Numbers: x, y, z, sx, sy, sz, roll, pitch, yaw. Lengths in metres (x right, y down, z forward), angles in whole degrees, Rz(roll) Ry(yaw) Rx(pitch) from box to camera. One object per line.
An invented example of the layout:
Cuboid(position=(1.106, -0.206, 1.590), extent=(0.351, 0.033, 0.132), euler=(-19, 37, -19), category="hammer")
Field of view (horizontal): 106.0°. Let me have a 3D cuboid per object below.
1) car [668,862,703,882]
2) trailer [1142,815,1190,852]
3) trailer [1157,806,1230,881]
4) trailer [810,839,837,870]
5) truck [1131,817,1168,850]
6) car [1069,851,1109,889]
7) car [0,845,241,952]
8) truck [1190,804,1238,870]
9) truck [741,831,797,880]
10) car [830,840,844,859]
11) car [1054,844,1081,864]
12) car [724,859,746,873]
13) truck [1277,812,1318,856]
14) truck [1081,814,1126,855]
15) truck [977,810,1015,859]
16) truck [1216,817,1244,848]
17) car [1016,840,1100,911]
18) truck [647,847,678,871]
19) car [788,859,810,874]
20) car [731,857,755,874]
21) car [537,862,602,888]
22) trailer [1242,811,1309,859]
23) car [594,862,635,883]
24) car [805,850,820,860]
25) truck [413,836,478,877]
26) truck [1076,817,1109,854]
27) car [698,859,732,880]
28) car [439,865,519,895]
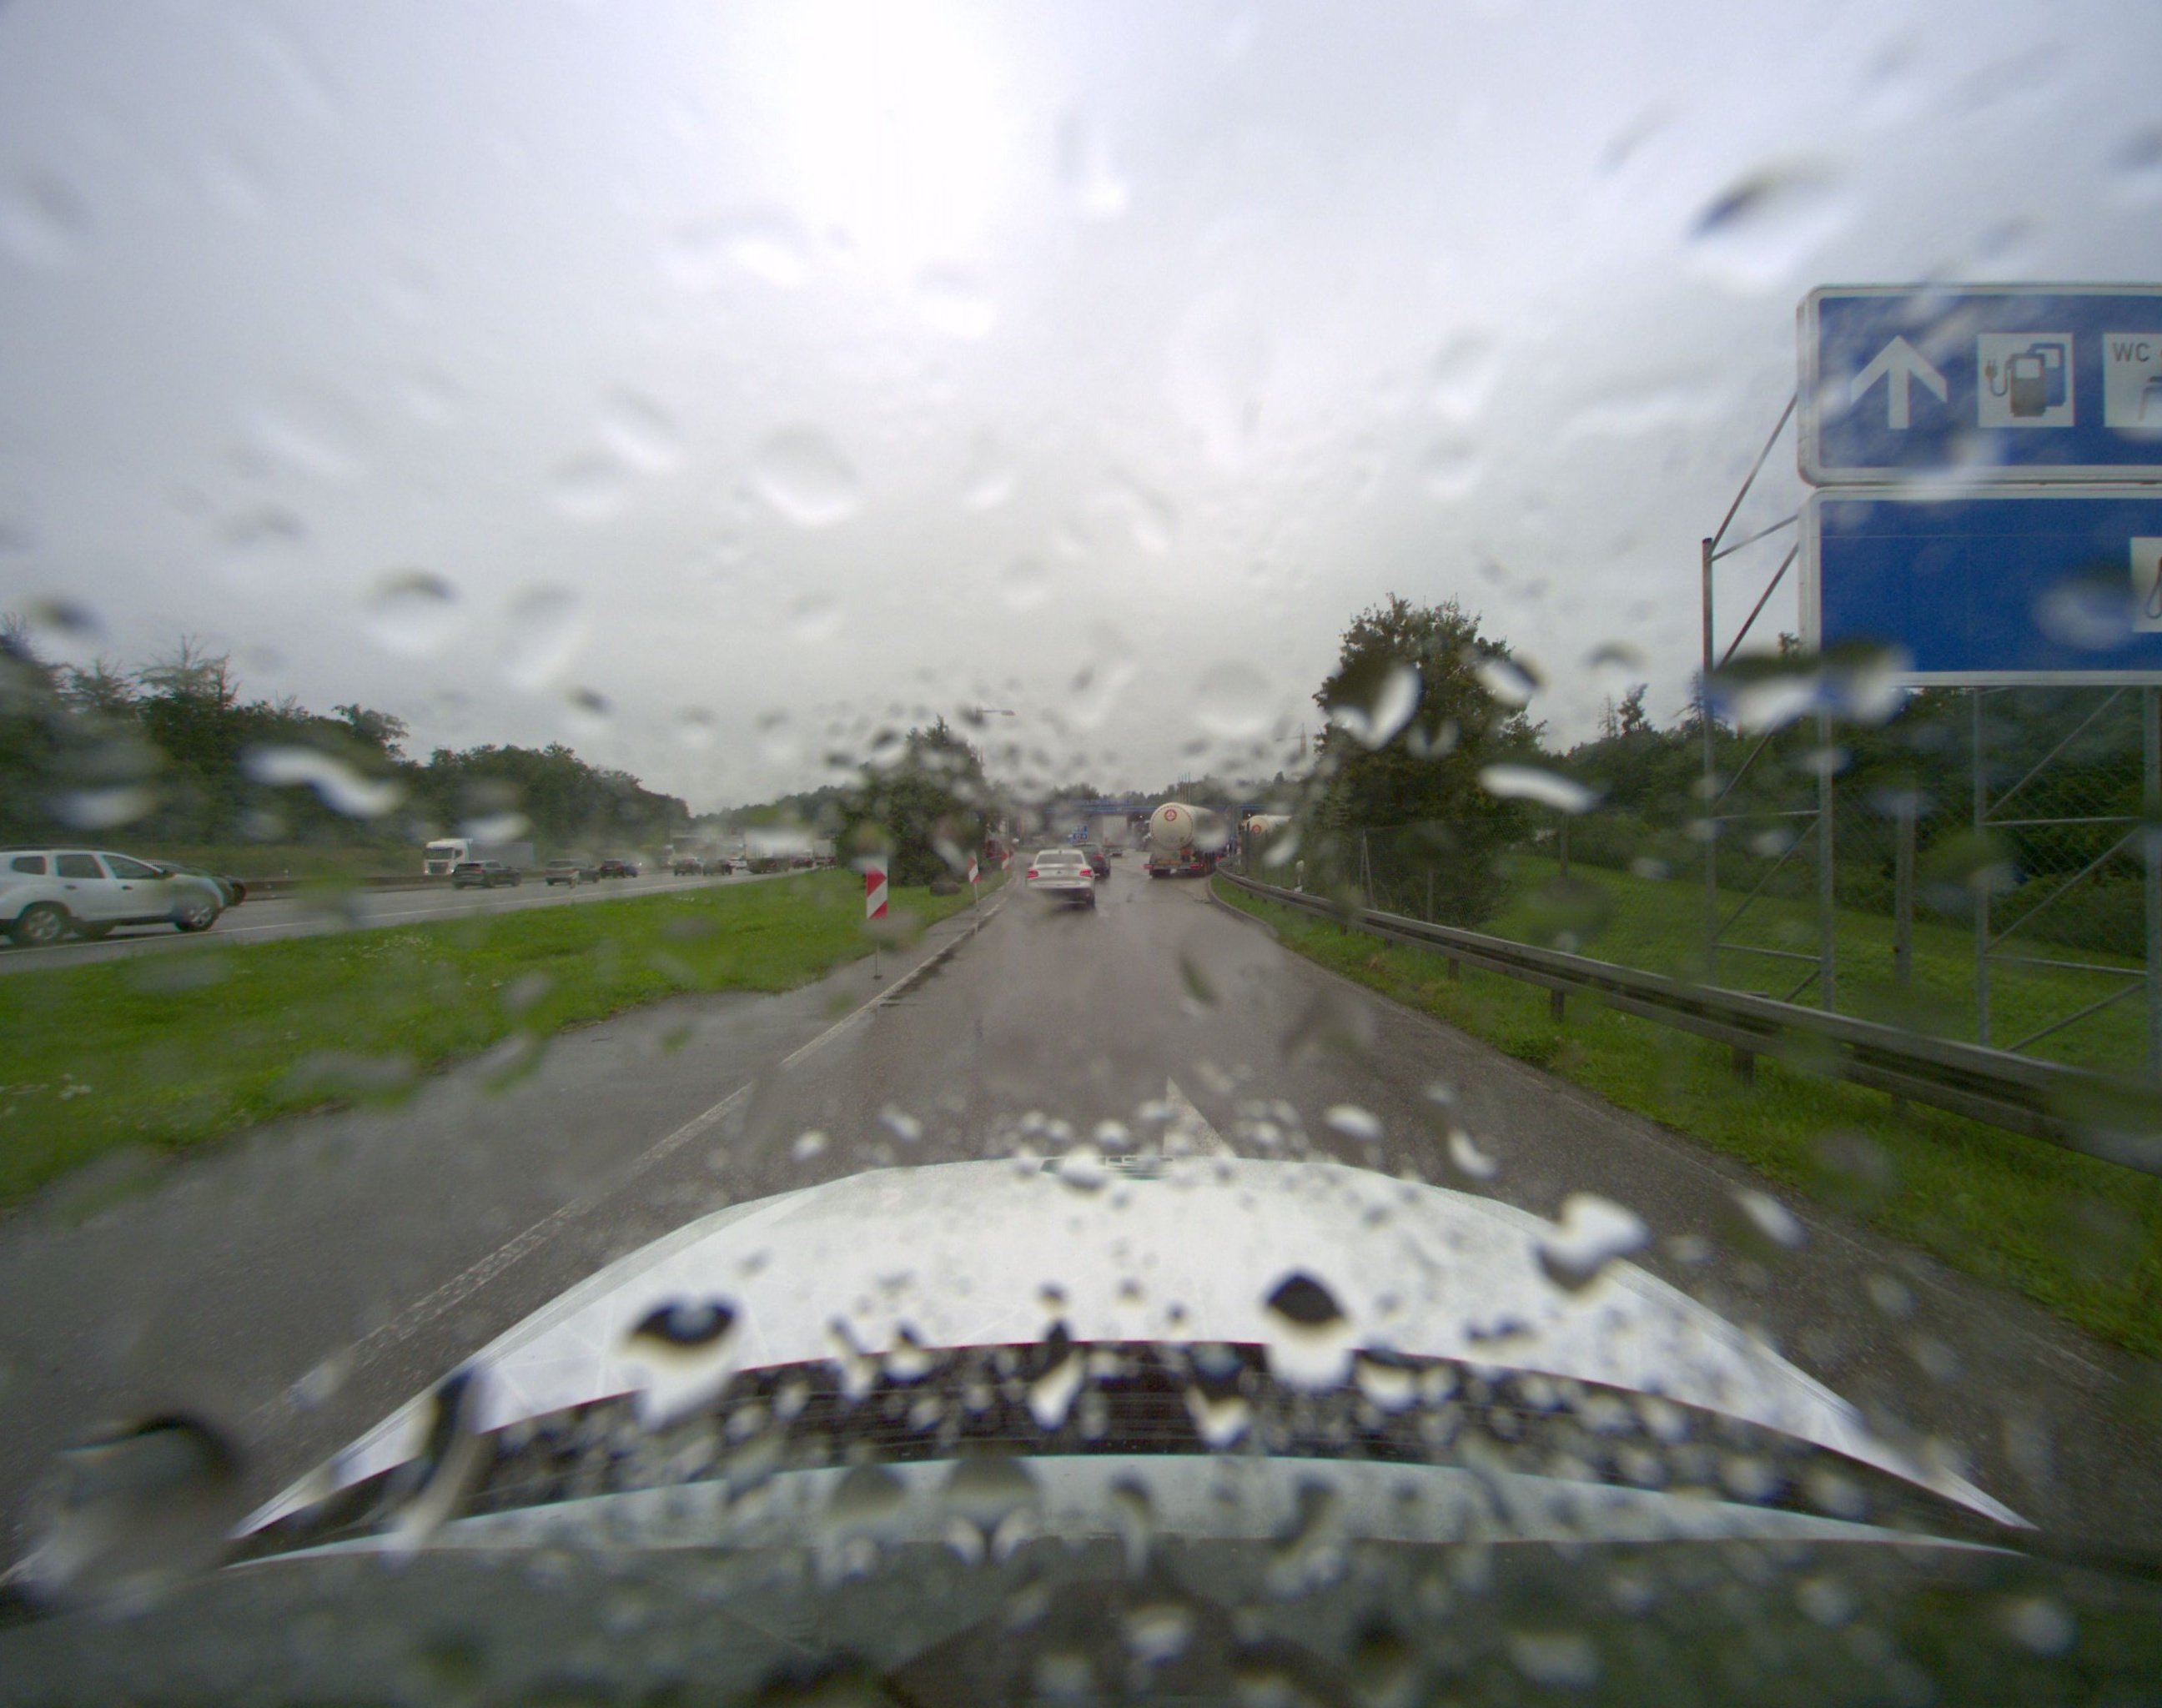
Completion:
Cuboid(position=(-36.771, 1.662, 75.804), extent=(1.776, 1.736, 4.086), euler=(-2, 0, -10), category="car")
Cuboid(position=(10.011, -2.428, 97.149), extent=(3.212, 4.188, 11.503), euler=(0, 1, -7), category="trailer")
Cuboid(position=(5.728, -0.545, 39.933), extent=(1.965, 3.224, 10.367), euler=(0, 1, 16), category="trailer")
Cuboid(position=(-40.917, 0.183, 129.731), extent=(3.555, 4.612, 12.055), euler=(-1, 0, -15), category="trailer")
Cuboid(position=(8.880, -2.675, 107.063), extent=(3.231, 4.188, 8.425), euler=(0, 1, -7), category="truck")
Cuboid(position=(0.415, 0.735, 38.857), extent=(1.736, 1.667, 4.002), euler=(2, -1, 2), category="car")
Cuboid(position=(-17.265, 0.701, 13.882), extent=(1.785, 1.586, 4.310), euler=(-2, 0, -9), category="car")
Cuboid(position=(7.602, -0.947, 46.282), extent=(2.037, 3.531, 4.767), euler=(0, 1, 17), category="truck")
Cuboid(position=(-29.694, 0.233, 78.088), extent=(2.850, 4.292, 11.798), euler=(-2, -1, -11), category="truck")
Cuboid(position=(-47.969, -0.894, 160.056), extent=(2.377, 3.485, 4.790), euler=(2, -1, -15), category="car")
Cuboid(position=(-0.995, -0.020, 59.242), extent=(1.874, 1.461, 3.997), euler=(0, 1, -2), category="car")
Cuboid(position=(-50.146, 1.712, 118.140), extent=(1.994, 2.013, 3.985), euler=(-1, 0, -11), category="car")
Cuboid(position=(18.400, -1.679, 68.950), extent=(2.125, 3.512, 4.676), euler=(0, 1, 31), category="truck")
Cuboid(position=(2.206, -2.004, 84.164), extent=(2.370, 3.873, 12.417), euler=(-1, 1, -9), category="truck")
Cuboid(position=(-7.333, -1.663, 69.343), extent=(2.914, 3.904, 6.298), euler=(-1, 1, -9), category="truck")
Cuboid(position=(18.437, -2.675, 101.154), extent=(2.421, 3.805, 3.995), euler=(-1, 2, -4), category="truck")
Cuboid(position=(-0.536, 0.527, 21.626), extent=(1.987, 1.679, 4.000), euler=(-1, 0, 0), category="car")
Cuboid(position=(-68.492, 0.807, 133.390), extent=(2.622, 3.669, 5.973), euler=(2, 1, -10), category="truck")
Cuboid(position=(-34.149, 1.479, 98.702), extent=(1.994, 1.816, 3.985), euler=(1, 0, -11), category="car")
Cuboid(position=(-43.236, 1.469, 104.361), extent=(1.994, 2.014, 3.985), euler=(2, -1, -11), category="car")
Cuboid(position=(-32.013, 1.284, 51.113), extent=(1.787, 1.526, 4.324), euler=(-1, 0, -7), category="car")
Cuboid(position=(15.417, -1.513, 63.939), extent=(2.111, 3.440, 10.318), euler=(0, 1, 31), category="trailer")
Cuboid(position=(-40.065, 1.577, 70.030), extent=(1.776, 1.736, 4.086), euler=(-1, 0, -10), category="car")
Cuboid(position=(-51.038, 0.209, 155.037), extent=(1.993, 1.816, 3.988), euler=(1, 0, -9), category="car")
Cuboid(position=(-59.792, 0.189, 76.733), extent=(2.714, 3.534, 4.747), euler=(3, 1, -10), category="truck")
Cuboid(position=(1.203, -2.078, 90.554), extent=(2.370, 3.873, 6.991), euler=(-1, 1, -9), category="truck")
Cuboid(position=(-32.081, 1.357, 71.447), extent=(1.776, 1.736, 3.833), euler=(-1, 0, -10), category="car")
Cuboid(position=(-34.943, 1.463, 47.412), extent=(1.717, 1.574, 4.448), euler=(-2, 0, -7), category="car")
